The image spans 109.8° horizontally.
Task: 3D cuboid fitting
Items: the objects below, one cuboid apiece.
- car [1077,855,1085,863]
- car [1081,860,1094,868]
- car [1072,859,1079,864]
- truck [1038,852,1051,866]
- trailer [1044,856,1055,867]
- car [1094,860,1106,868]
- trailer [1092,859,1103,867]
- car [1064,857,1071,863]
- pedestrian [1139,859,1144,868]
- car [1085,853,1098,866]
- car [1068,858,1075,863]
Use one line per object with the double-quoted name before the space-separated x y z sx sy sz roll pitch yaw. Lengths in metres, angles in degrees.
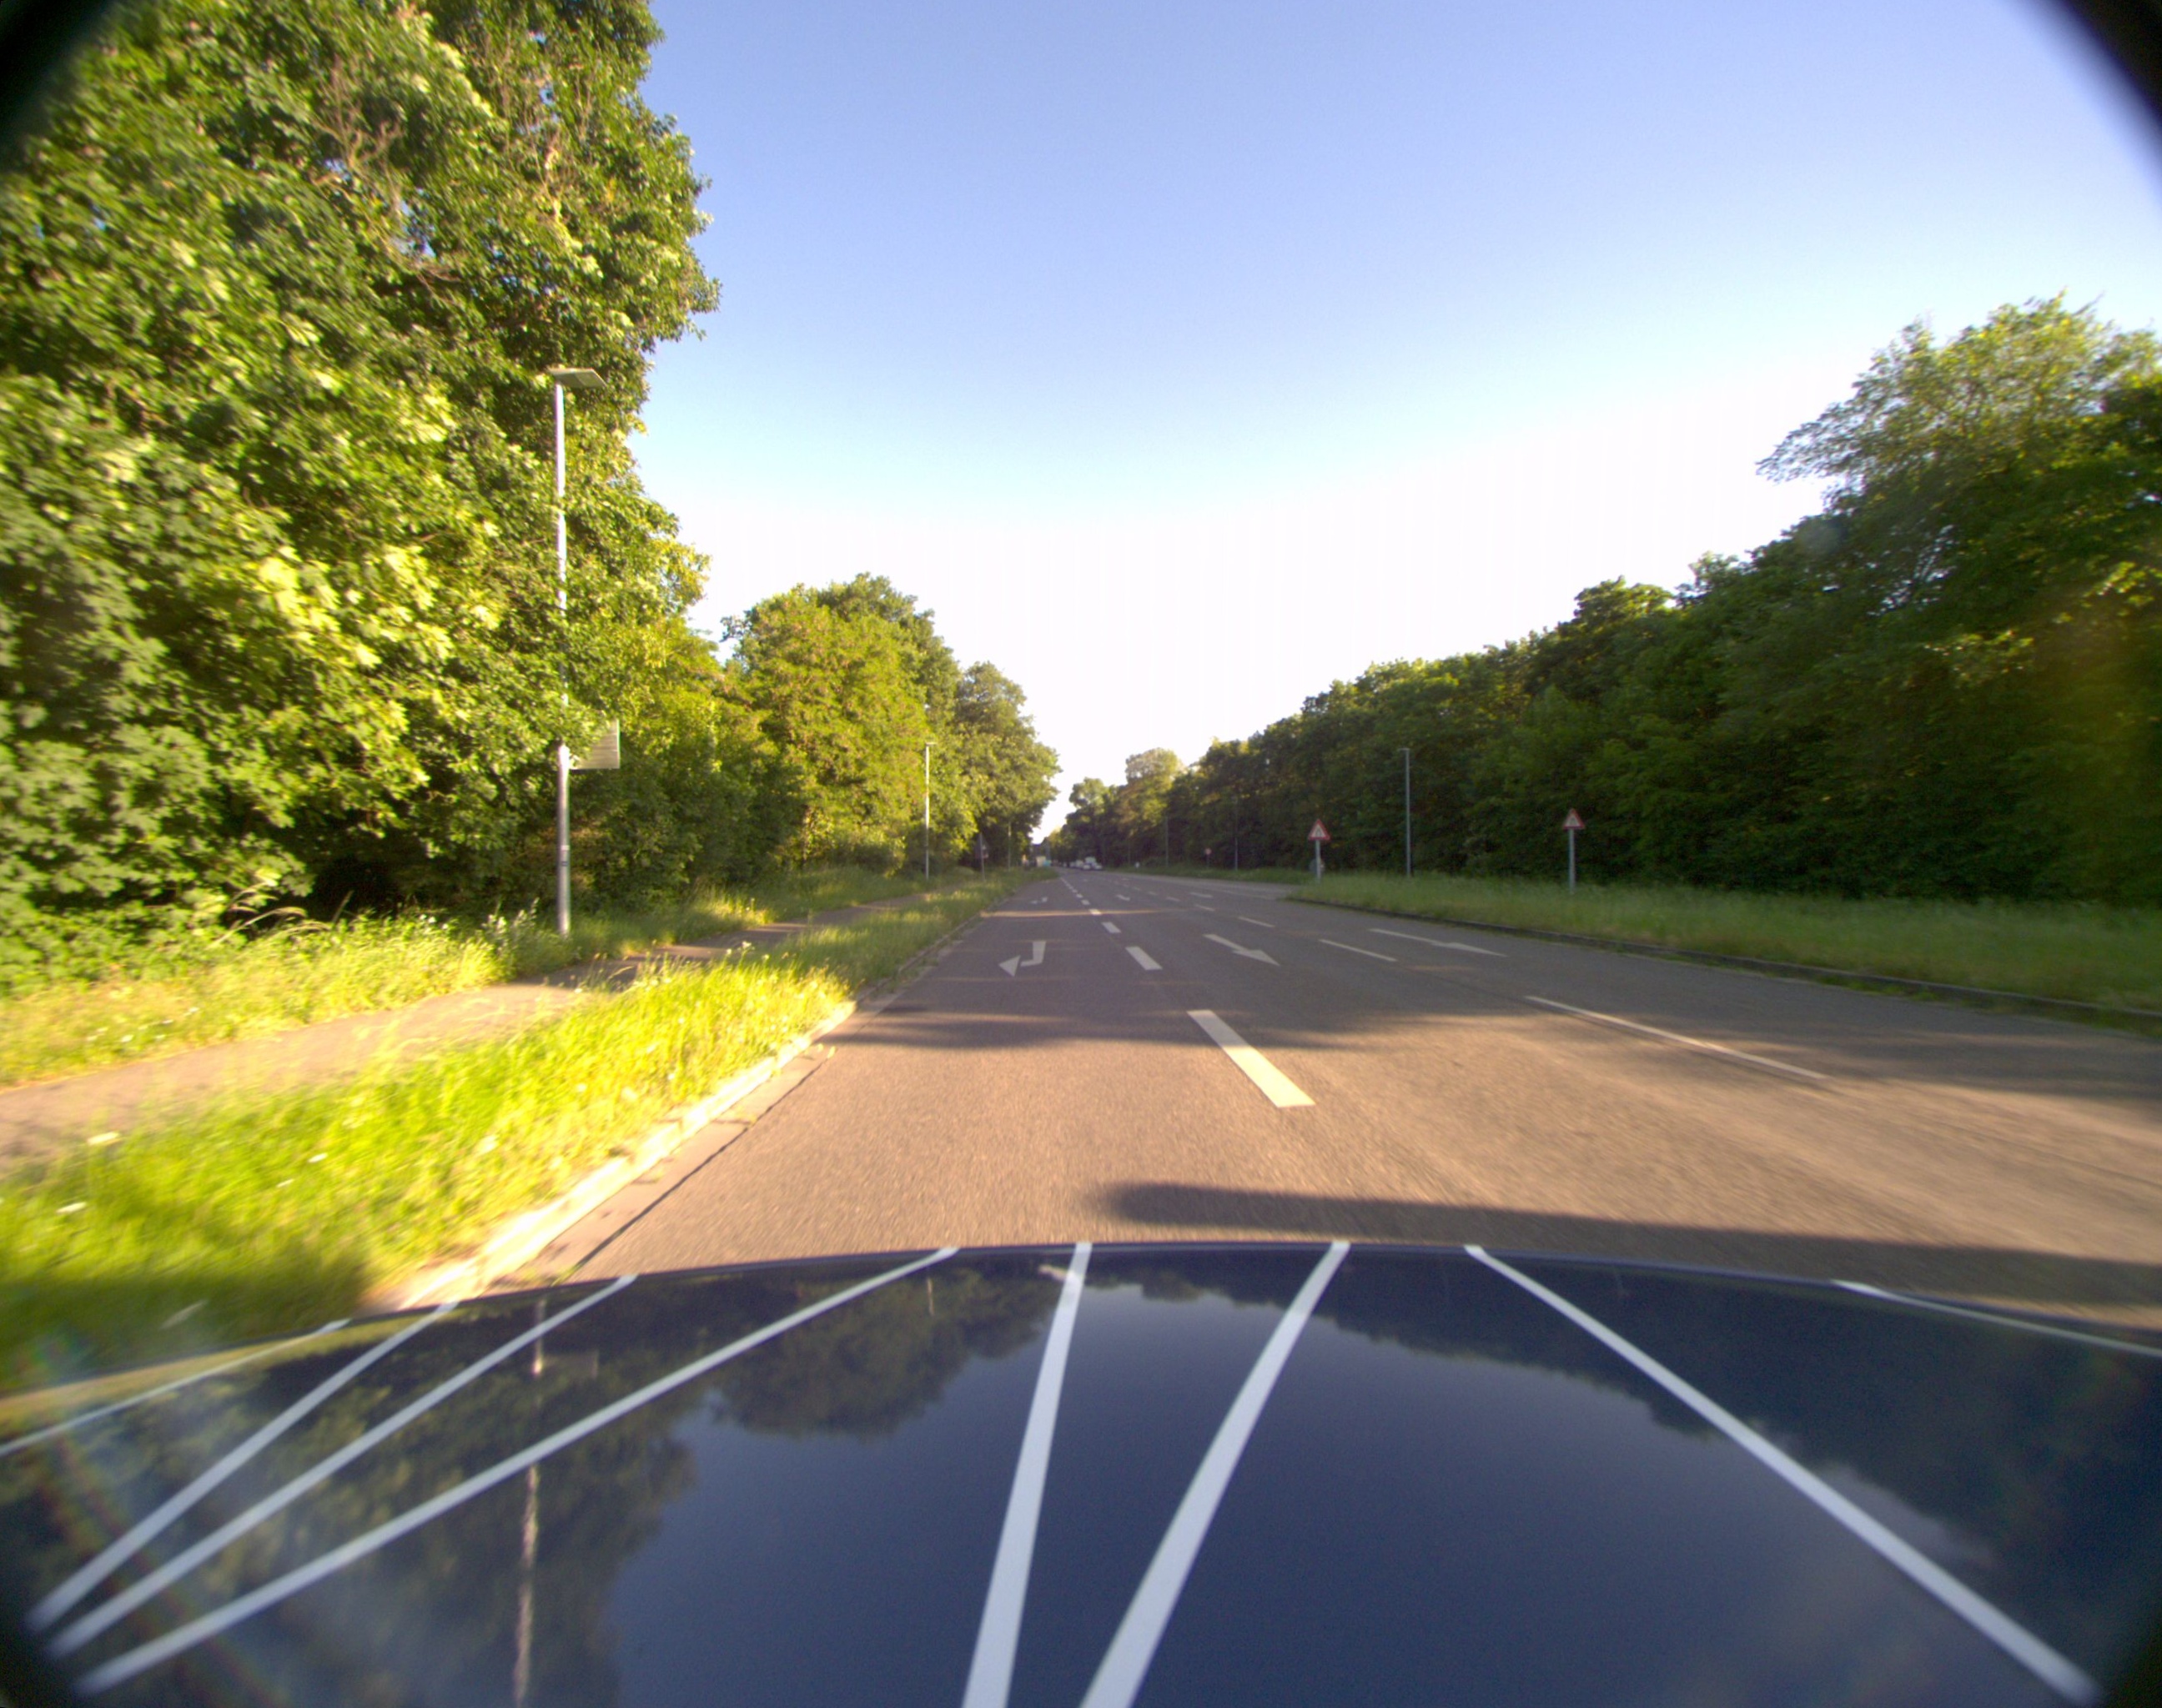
"car" -0.044 1.414 206.308 1.692 2.089 4.630 1 0 -6
"car" 1.221 1.850 144.537 1.834 1.446 4.478 2 -1 -7
"car" -1.603 2.097 218.774 1.807 1.496 3.910 1 0 -6
"truck" -8.152 1.066 169.510 2.391 2.855 5.595 -3 0 -6
"trailer" -6.239 1.472 151.713 1.870 2.165 4.127 -2 0 -6
"car" 3.980 2.071 157.277 1.915 1.455 4.010 1 0 -6
"trailer" 3.519 1.860 162.583 1.807 1.719 3.645 1 0 -6
"car" -4.428 1.888 244.574 1.999 2.002 3.998 0 0 -5
"pedestrian" 10.751 1.718 135.199 0.713 1.556 0.826 0 0 -2
"car" 2.350 1.184 173.791 2.461 2.830 4.796 1 0 -6
"car" -3.090 2.089 234.555 1.807 1.496 3.910 1 0 -6
